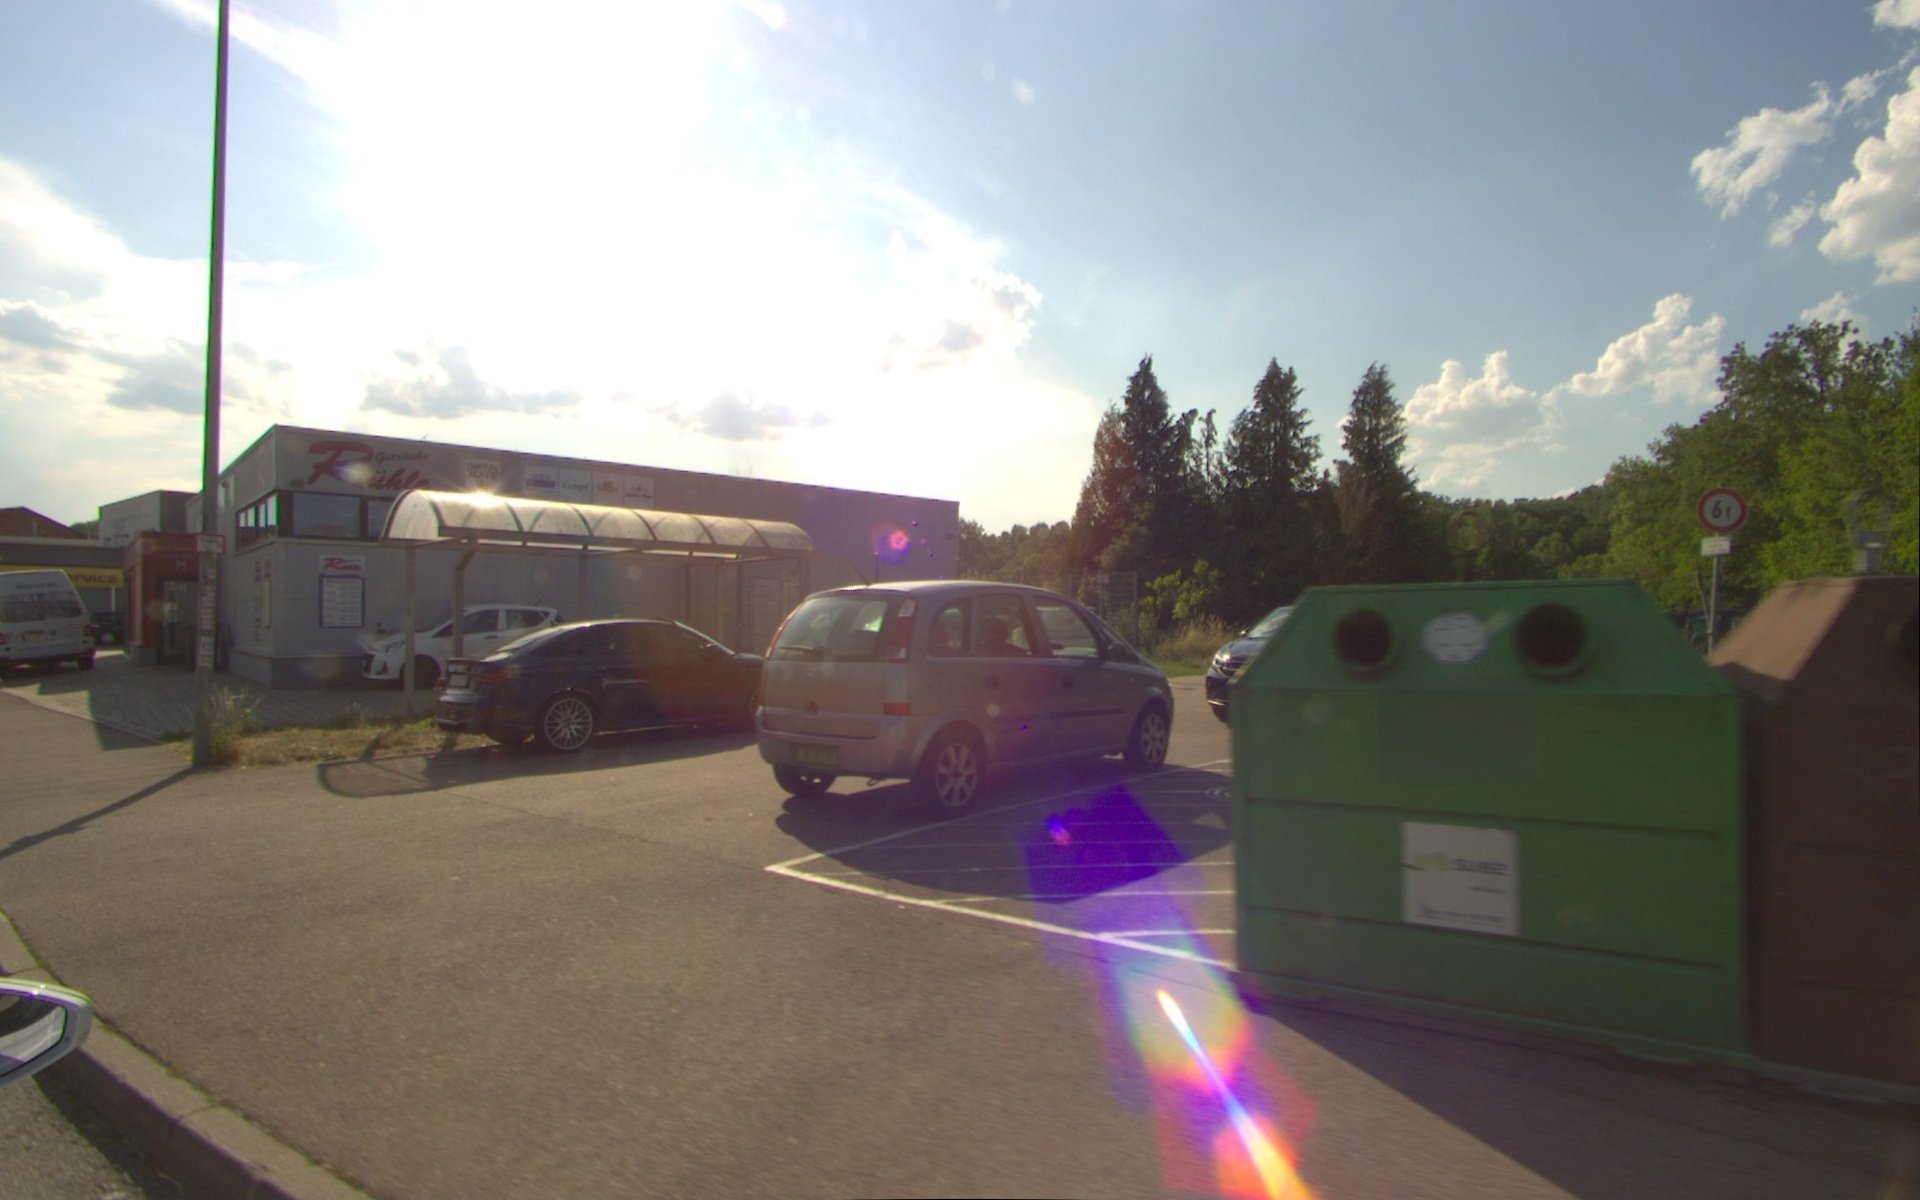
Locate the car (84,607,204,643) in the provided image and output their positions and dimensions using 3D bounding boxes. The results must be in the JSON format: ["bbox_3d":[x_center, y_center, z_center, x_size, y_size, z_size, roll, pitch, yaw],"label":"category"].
[{"bbox_3d":[-36.655,1.123,45.052,1.693,1.487,3.892,2,0,36],"label":"car"}]

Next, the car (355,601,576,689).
[{"bbox_3d":[-9.363,0.786,19.099,3.528,1.477,1.485,-1,1,-41],"label":"car"}]

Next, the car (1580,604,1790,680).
[{"bbox_3d":[15.724,0.860,21.805,3.538,1.520,1.667,-1,-1,44],"label":"car"}]

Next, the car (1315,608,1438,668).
[{"bbox_3d":[11.505,1.003,27.546,1.718,1.531,4.151,-1,-1,44],"label":"car"}]

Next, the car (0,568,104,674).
[{"bbox_3d":[-23.298,0.482,24.977,5.111,2.407,1.830,0,1,37],"label":"car"}]

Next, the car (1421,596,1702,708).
[{"bbox_3d":[10.092,0.811,16.933,3.903,1.675,1.670,-1,-1,39],"label":"car"}]

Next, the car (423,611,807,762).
[{"bbox_3d":[-3.940,0.887,11.925,1.609,1.435,4.039,-1,0,44],"label":"car"}]

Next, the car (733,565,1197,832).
[{"bbox_3d":[0.260,0.643,8.142,1.663,1.624,3.921,-1,-1,40],"label":"car"}]

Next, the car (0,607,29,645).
[{"bbox_3d":[-40.494,1.037,40.495,1.508,1.551,3.973,0,0,37],"label":"car"}]

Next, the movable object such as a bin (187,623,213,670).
[{"bbox_3d":[-17.506,1.061,23.066,0.426,1.056,0.485,1,0,-42],"label":"movable object such as a bin"}]

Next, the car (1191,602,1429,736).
[{"bbox_3d":[4.690,0.804,13.093,1.663,1.467,3.921,-1,-1,40],"label":"car"}]

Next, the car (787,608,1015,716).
[{"bbox_3d":[-0.838,0.879,15.486,1.483,1.435,3.416,-1,0,44],"label":"car"}]

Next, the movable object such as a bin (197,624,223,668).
[{"bbox_3d":[-16.944,1.027,22.614,0.426,0.978,0.426,1,0,-42],"label":"movable object such as a bin"}]

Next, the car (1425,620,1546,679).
[{"bbox_3d":[13.374,1.199,25.390,1.610,1.393,4.151,-1,-1,44],"label":"car"}]
